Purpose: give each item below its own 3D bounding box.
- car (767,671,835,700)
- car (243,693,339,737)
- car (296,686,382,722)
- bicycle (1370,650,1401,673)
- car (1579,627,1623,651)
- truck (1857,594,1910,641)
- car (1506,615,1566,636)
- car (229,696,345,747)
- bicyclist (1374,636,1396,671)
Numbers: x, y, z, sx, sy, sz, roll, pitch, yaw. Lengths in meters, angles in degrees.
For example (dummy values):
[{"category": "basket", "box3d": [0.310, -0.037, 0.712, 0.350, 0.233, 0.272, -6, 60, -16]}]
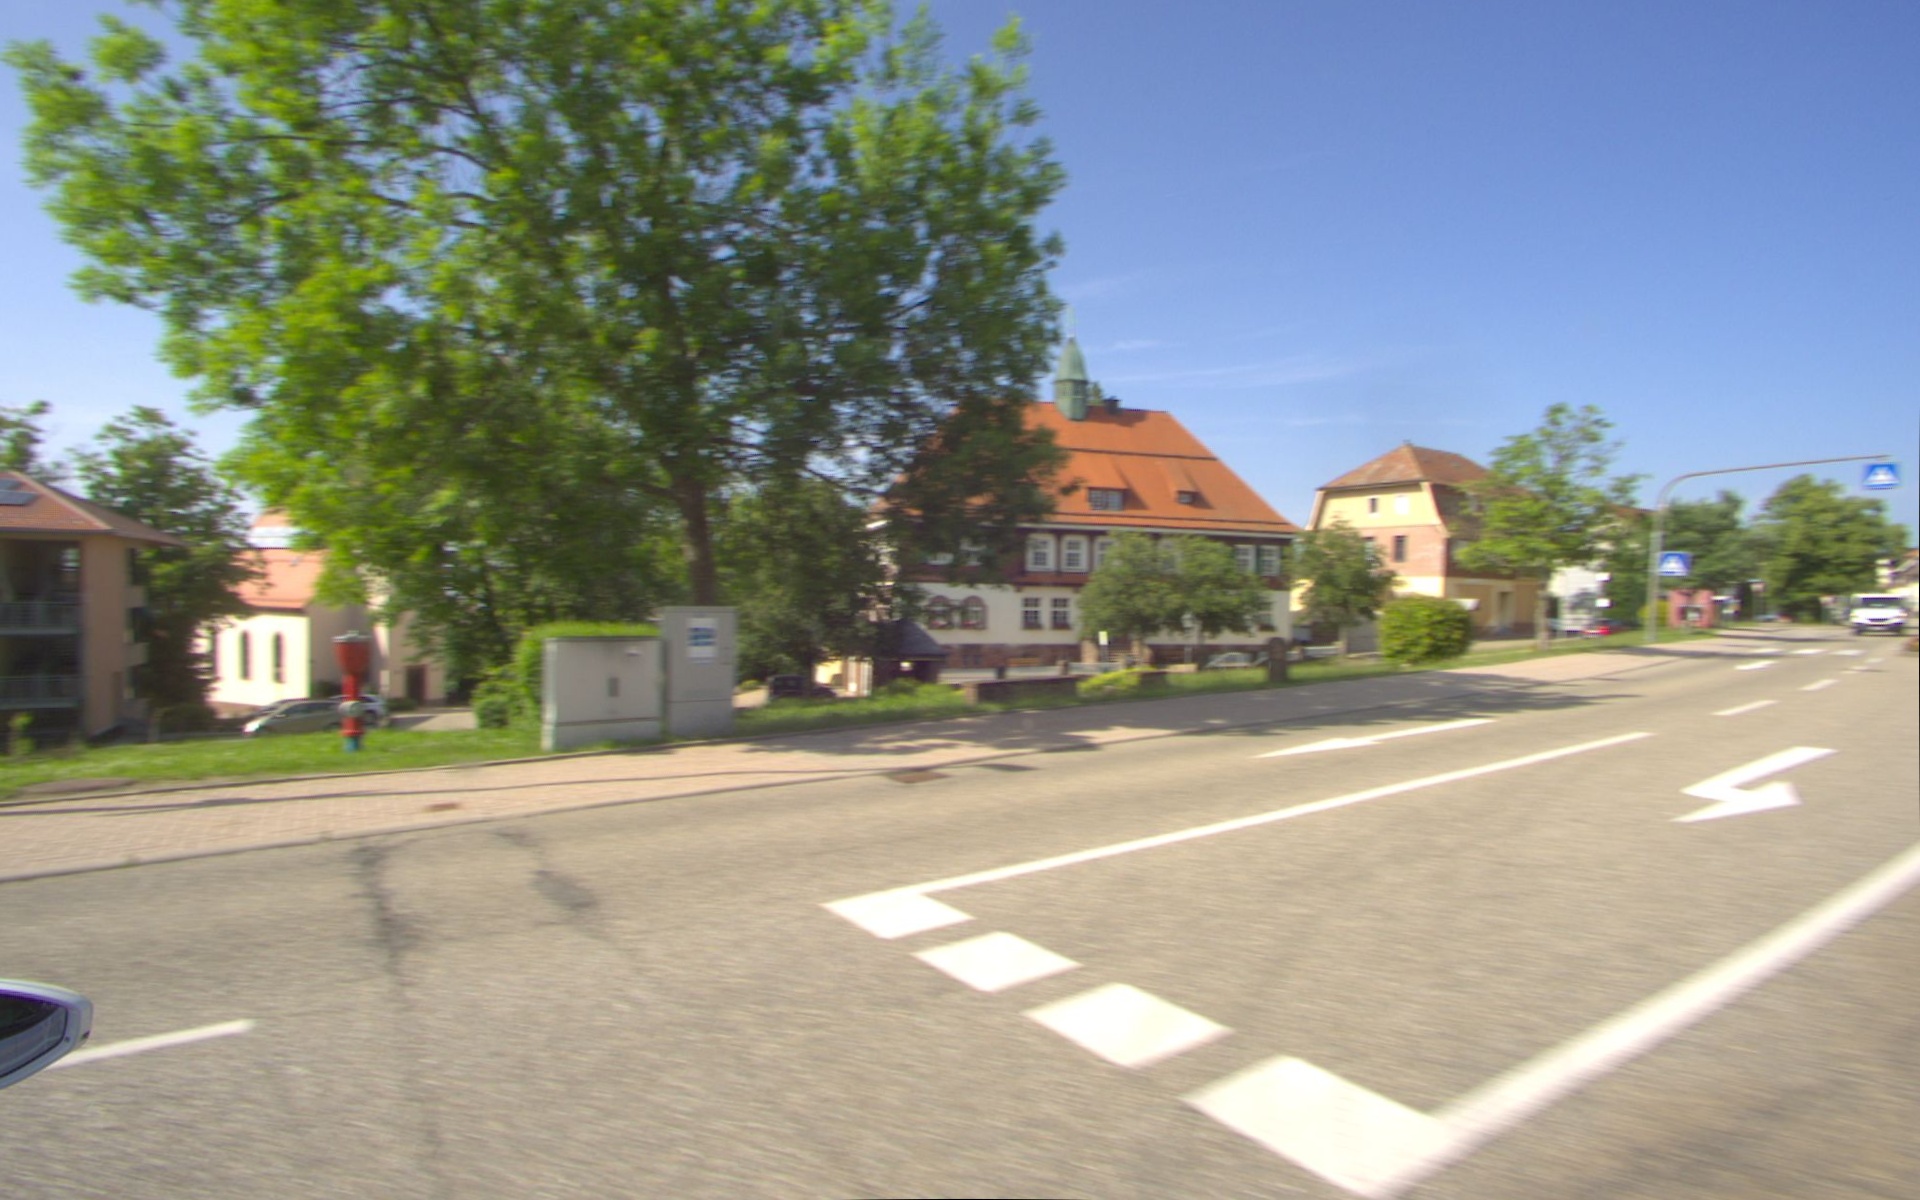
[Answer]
[{"category": "car", "box3d": [-9.381, 5.038, 59.127, 3.719, 1.462, 1.711, -2, -2, -18]}, {"category": "car", "box3d": [-32.085, 5.481, 48.055, 3.737, 1.780, 1.703, -1, -2, -36]}, {"category": "car", "box3d": [-33.045, 5.490, 53.300, 3.737, 1.614, 1.703, -1, -2, -36]}, {"category": "bicycle", "box3d": [24.029, 3.486, 56.566, 1.700, 1.205, 0.537, -1, -1, -24]}, {"category": "car", "box3d": [43.072, 2.599, 67.237, 1.759, 1.451, 3.679, -4, -3, 44]}, {"category": "truck", "box3d": [49.737, 0.894, 53.903, 1.979, 2.373, 6.434, 0, 0, 44]}, {"category": "car", "box3d": [44.764, 2.022, 77.860, 1.759, 1.451, 3.681, 0, -4, -43]}, {"category": "car", "box3d": [-28.987, 5.185, 43.234, 4.051, 1.780, 1.703, -1, -2, -35]}, {"category": "bicyclist", "box3d": [24.032, 3.030, 56.577, 0.981, 1.949, 0.580, -1, -1, -24]}]
